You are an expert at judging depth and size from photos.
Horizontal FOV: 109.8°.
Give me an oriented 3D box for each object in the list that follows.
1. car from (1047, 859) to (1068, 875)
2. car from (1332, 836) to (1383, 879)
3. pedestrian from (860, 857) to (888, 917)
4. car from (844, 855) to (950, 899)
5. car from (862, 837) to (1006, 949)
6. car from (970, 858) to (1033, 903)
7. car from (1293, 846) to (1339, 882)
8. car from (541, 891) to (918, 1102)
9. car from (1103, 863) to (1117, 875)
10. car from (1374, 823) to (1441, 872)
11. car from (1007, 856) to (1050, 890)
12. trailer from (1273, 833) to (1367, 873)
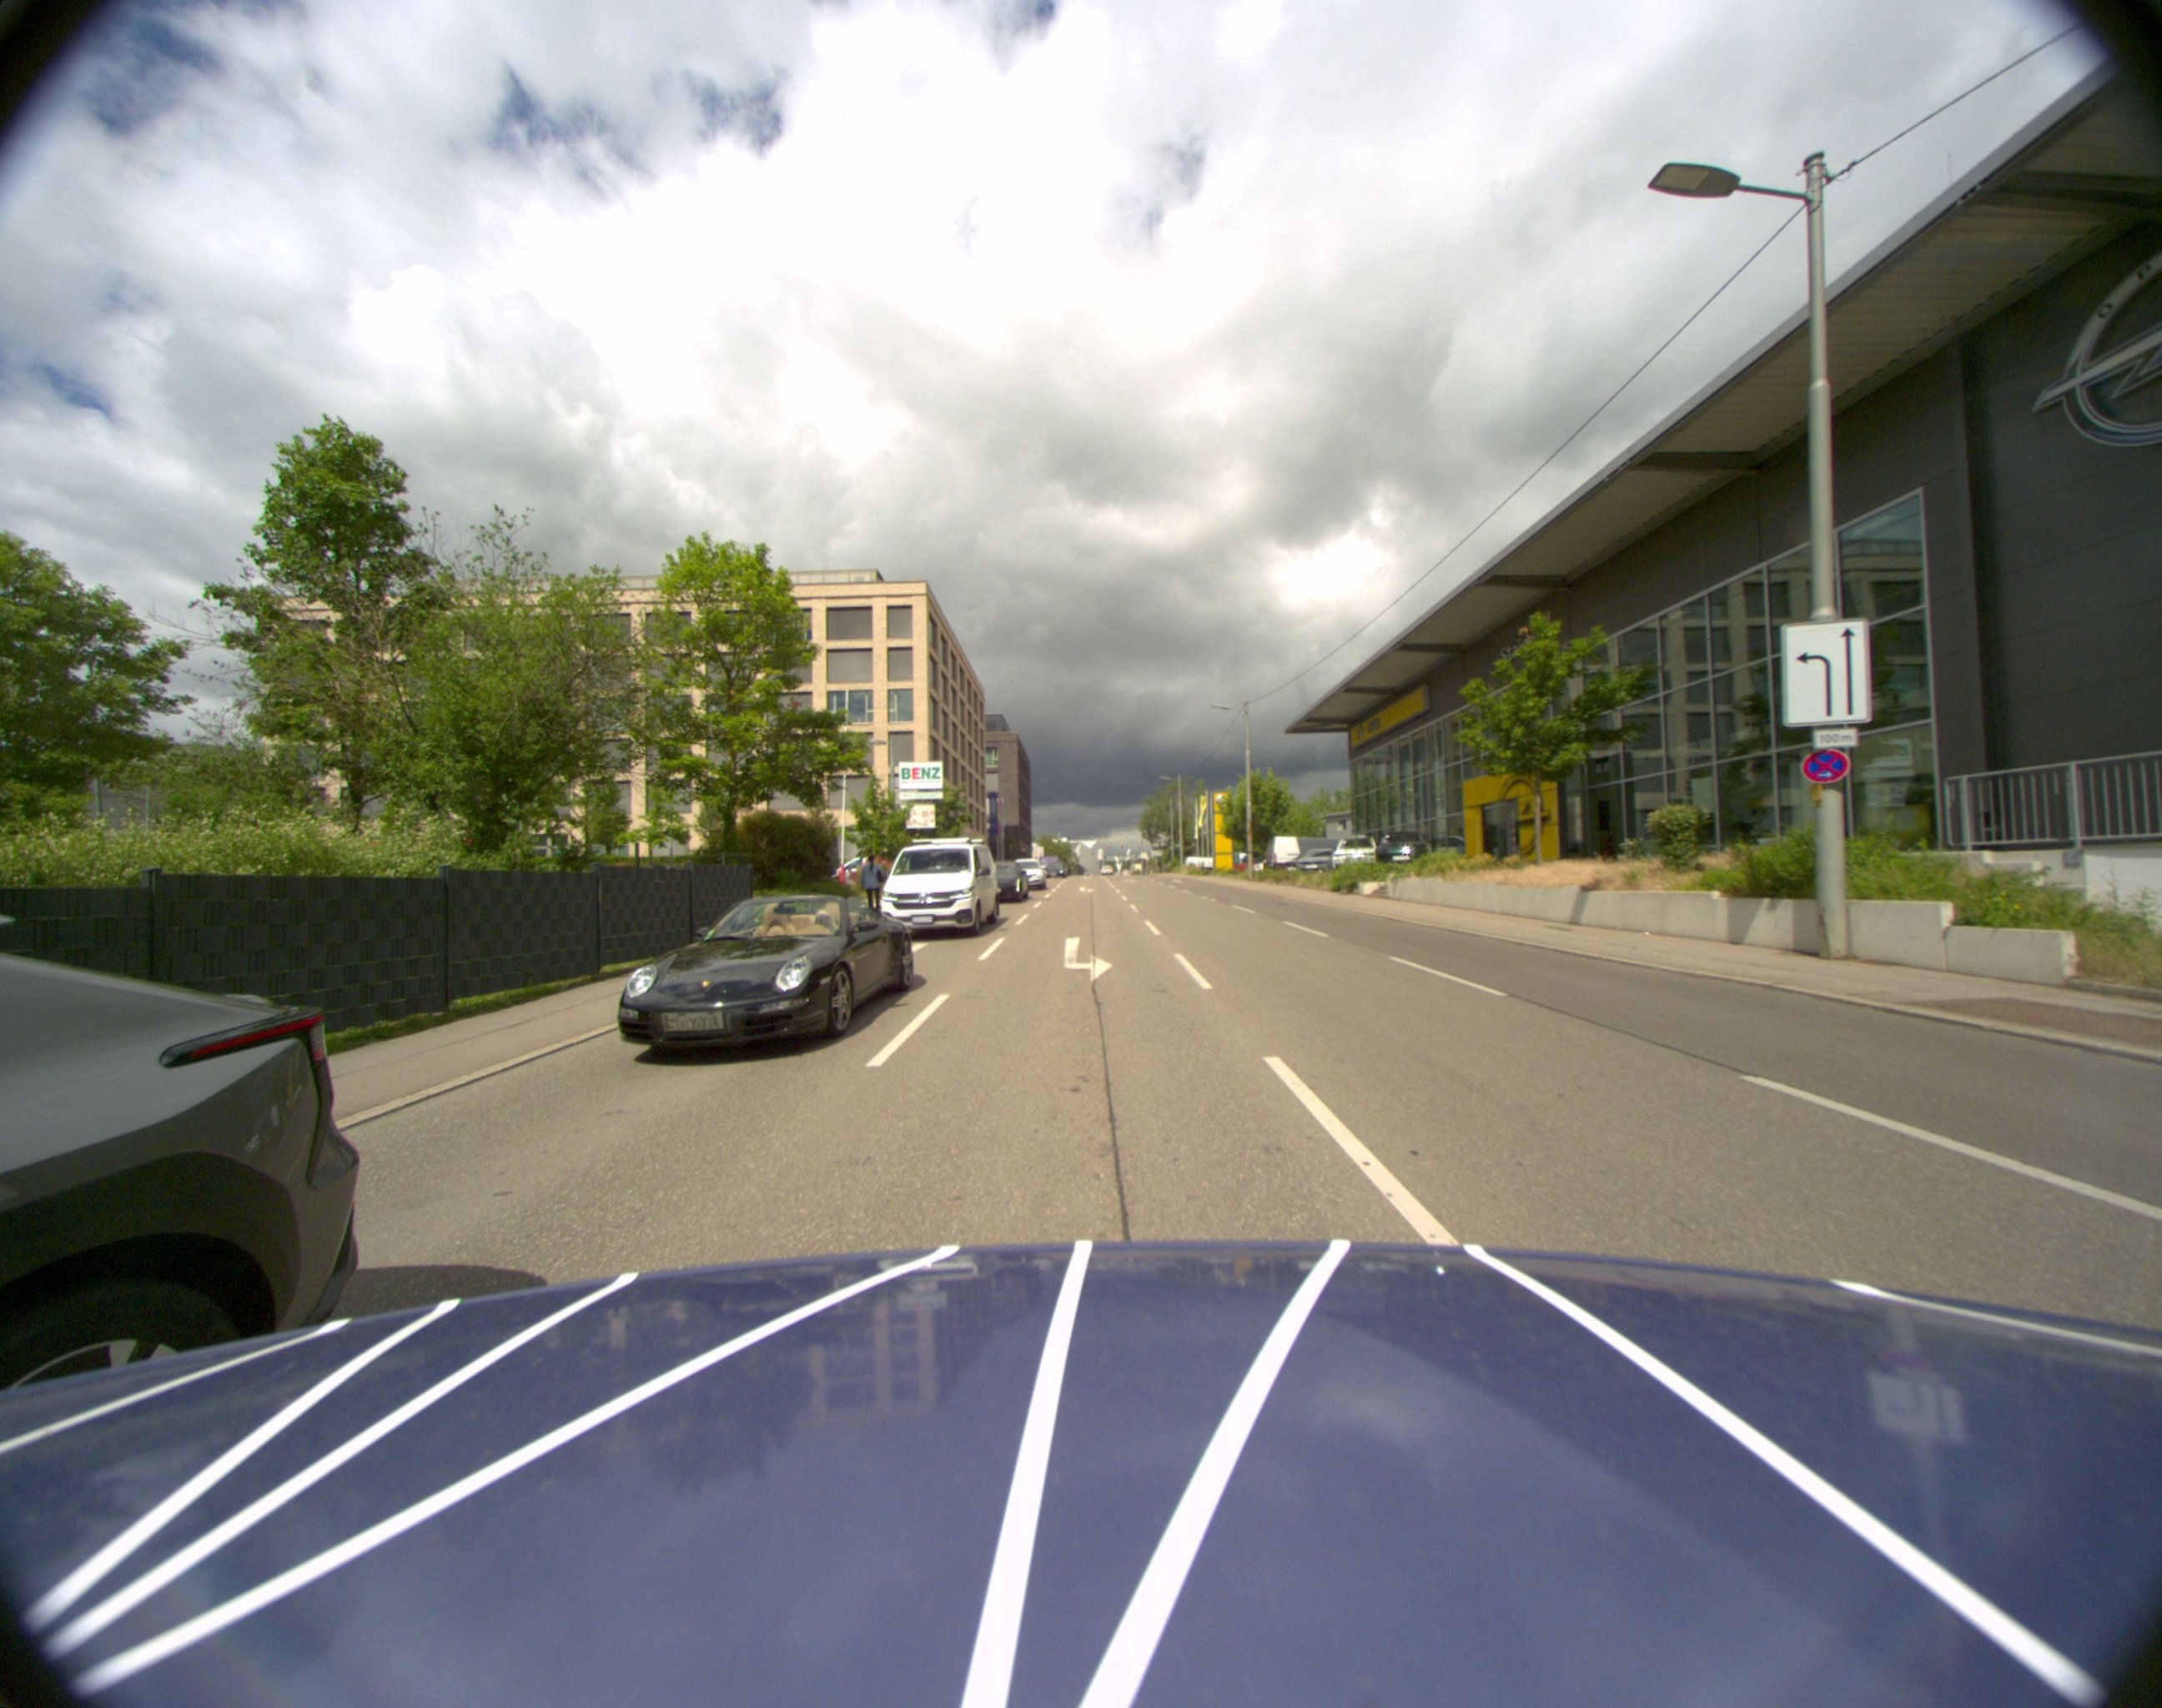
[{"bbox_3d":[-2.057,1.159,67.597,1.662,1.351,4.000,-1,0,1],"label":"car"},{"bbox_3d":[12.170,0.134,33.438,1.995,1.783,4.006,-1,0,21],"label":"car"},{"bbox_3d":[-5.752,0.912,21.169,0.632,1.648,0.443,-1,1,-1],"label":"pedestrian"},{"bbox_3d":[-7.630,0.946,31.782,3.998,1.723,1.822,-1,1,-3],"label":"car"},{"bbox_3d":[-3.004,0.731,16.698,2.089,2.037,4.760,-2,0,1],"label":"car"},{"bbox_3d":[-2.827,0.916,27.886,1.818,1.454,4.000,-1,0,1],"label":"car"},{"bbox_3d":[12.109,0.474,39.012,1.995,1.783,4.006,-1,0,21],"label":"car"},{"bbox_3d":[-3.038,1.154,7.650,1.824,1.286,4.038,-2,0,1],"label":"car"},{"bbox_3d":[4.491,2.245,116.607,1.998,1.731,4.547,-2,0,1],"label":"car"},{"bbox_3d":[12.337,-0.248,28.928,1.996,1.718,4.005,-1,0,18],"label":"car"},{"bbox_3d":[-2.591,0.900,38.426,1.818,1.577,4.000,-1,0,1],"label":"car"},{"bbox_3d":[14.453,-0.062,46.172,5.074,2.336,2.000,-1,1,-1],"label":"trailer"}]
